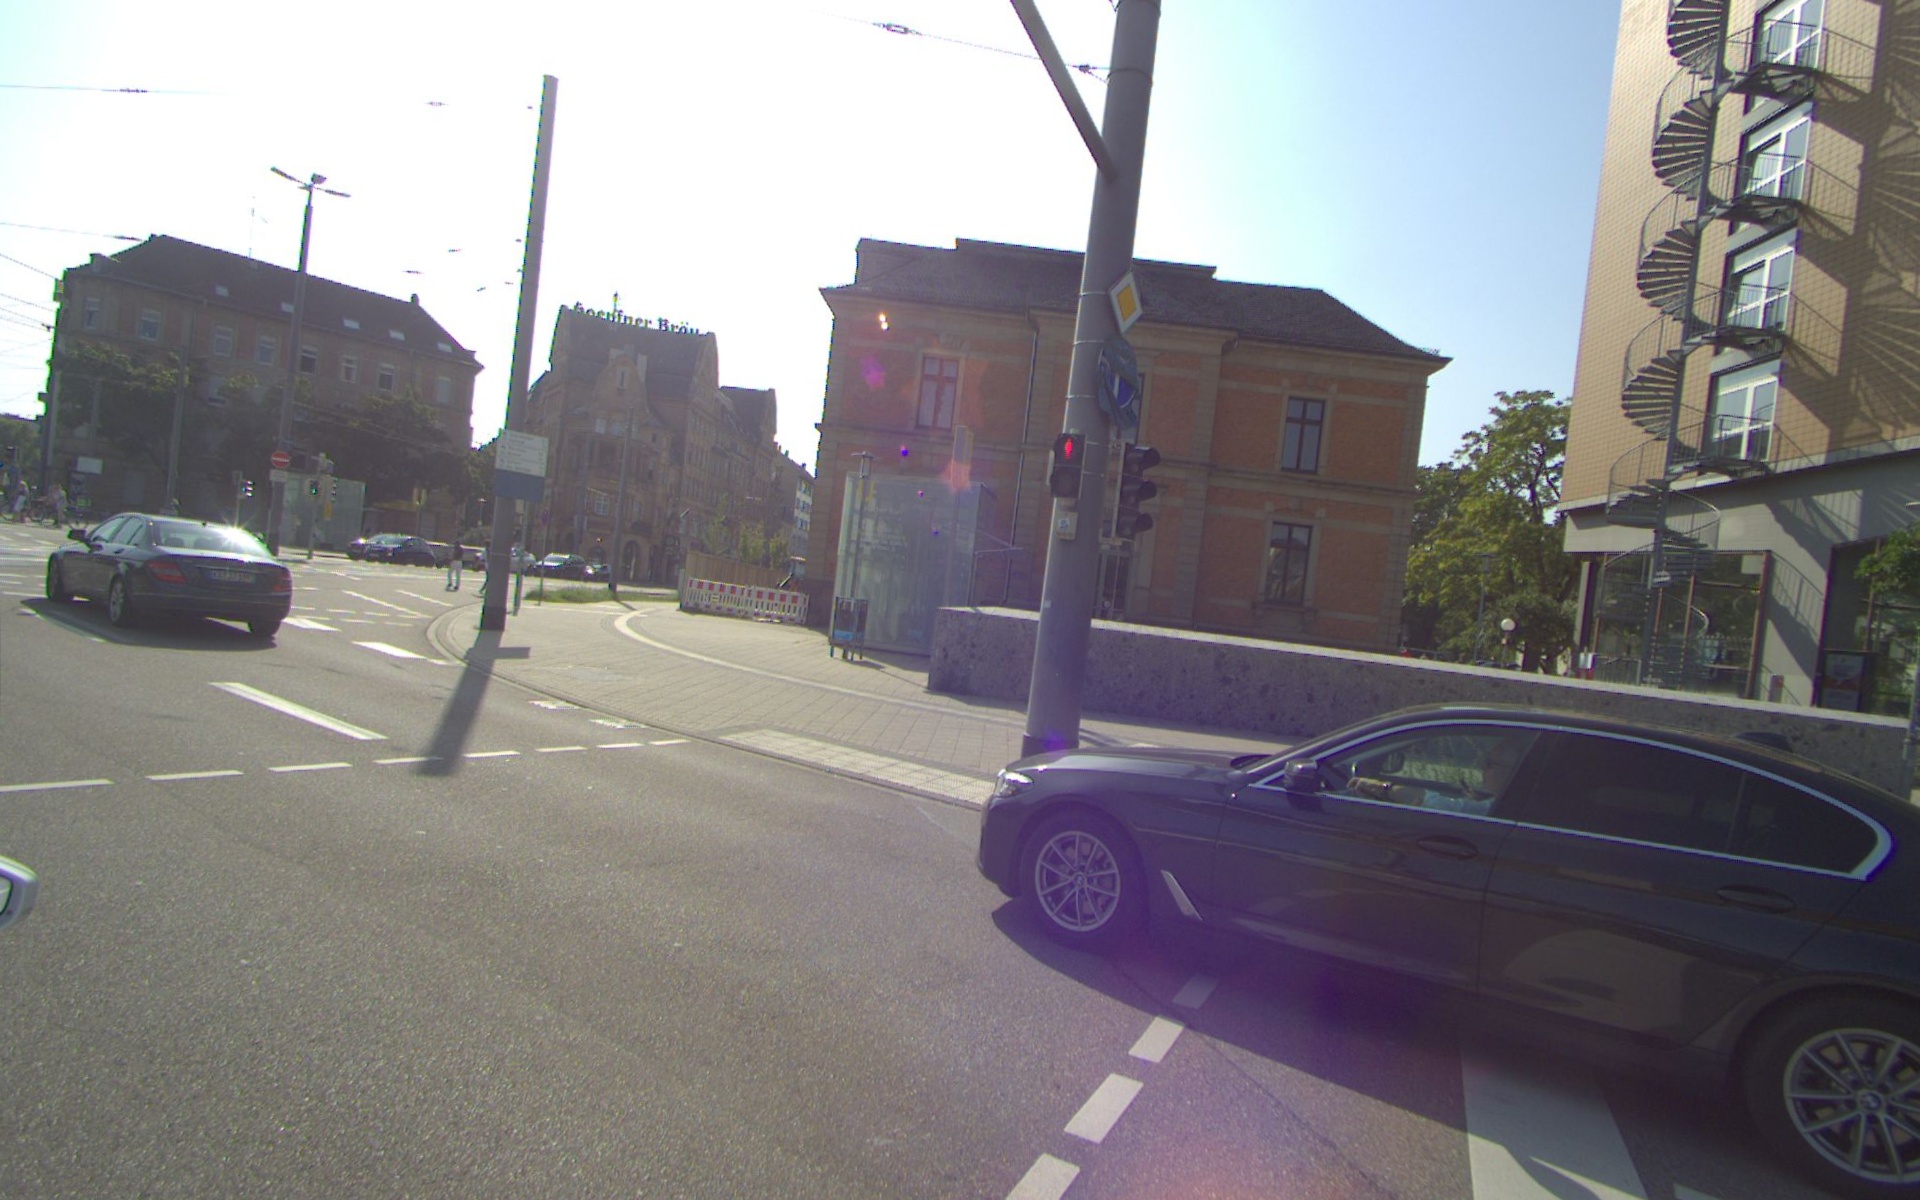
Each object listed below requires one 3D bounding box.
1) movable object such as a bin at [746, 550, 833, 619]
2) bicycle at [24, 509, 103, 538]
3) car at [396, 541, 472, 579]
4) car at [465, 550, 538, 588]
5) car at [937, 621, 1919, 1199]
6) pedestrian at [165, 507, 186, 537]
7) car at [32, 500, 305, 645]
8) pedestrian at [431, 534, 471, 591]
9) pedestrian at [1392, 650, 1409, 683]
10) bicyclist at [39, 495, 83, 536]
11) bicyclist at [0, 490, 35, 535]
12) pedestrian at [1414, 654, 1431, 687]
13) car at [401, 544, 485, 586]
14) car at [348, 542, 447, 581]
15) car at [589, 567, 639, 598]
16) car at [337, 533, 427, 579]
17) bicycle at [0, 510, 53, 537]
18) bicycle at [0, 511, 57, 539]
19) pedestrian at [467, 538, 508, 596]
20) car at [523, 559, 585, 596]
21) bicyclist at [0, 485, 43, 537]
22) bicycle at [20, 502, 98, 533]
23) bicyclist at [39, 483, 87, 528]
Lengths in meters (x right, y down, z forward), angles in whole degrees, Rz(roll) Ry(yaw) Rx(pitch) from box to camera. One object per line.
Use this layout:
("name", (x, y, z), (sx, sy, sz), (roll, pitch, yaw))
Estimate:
("movable object such as a bin", (-7.290, -0.590, 44.004), (2.408, 2.472, 7.976), (6, 0, -1))
("bicycle", (-42.018, -3.571, 47.213), (1.072, 0.976, 2.628), (7, 0, 7))
("car", (-33.556, -2.537, 64.361), (1.895, 1.881, 4.276), (7, -1, 11))
("car", (-28.547, -1.915, 62.770), (2.007, 1.881, 4.666), (7, -1, 4))
("car", (2.326, 1.159, 4.685), (4.597, 1.510, 1.684), (7, -1, 33))
("pedestrian", (-42.484, -4.211, 54.468), (0.538, 1.489, 0.666), (6, 1, -13))
("car", (-10.874, -0.410, 13.728), (4.303, 1.460, 1.683), (7, -1, 35))
("pedestrian", (-16.261, -1.192, 32.154), (0.910, 1.711, 0.833), (6, 0, -22))
("pedestrian", (26.632, 4.011, 60.886), (0.624, 1.890, 0.674), (6, 1, 12))
("bicyclist", (-41.994, -3.944, 47.012), (1.072, 1.701, 0.937), (7, 1, 7))
("bicyclist", (-41.856, -3.854, 44.402), (1.072, 1.822, 0.937), (7, 1, 7))
("pedestrian", (27.506, 4.173, 59.817), (0.624, 1.890, 0.674), (6, 1, 12))
("car", (-29.319, -1.960, 57.251), (1.874, 1.881, 4.712), (7, -1, 6))
("car", (-27.132, -1.833, 48.691), (1.985, 1.414, 4.389), (7, -1, 4))
("car", (-25.692, -1.262, 74.761), (1.896, 1.881, 4.115), (7, -1, 4))
("car", (-29.886, -2.252, 52.179), (1.874, 1.881, 4.252), (7, -1, 4))
("bicycle", (-41.905, -3.430, 44.425), (1.072, 0.976, 2.628), (7, 0, 7))
("bicycle", (-40.206, -3.240, 42.925), (1.074, 0.976, 2.624), (7, 0, -6))
("pedestrian", (-14.943, -1.046, 31.826), (0.909, 1.711, 0.921), (6, 0, -19))
("car", (-25.545, -1.384, 63.494), (1.874, 1.881, 4.070), (7, -1, 4))
("bicyclist", (-40.143, -3.788, 42.871), (1.074, 2.049, 0.936), (7, 1, -6))
("bicycle", (-38.266, -3.500, 42.776), (1.074, 0.976, 2.624), (7, 0, -6))
("bicyclist", (-38.224, -4.014, 42.888), (1.074, 1.730, 0.936), (7, 1, -6))
